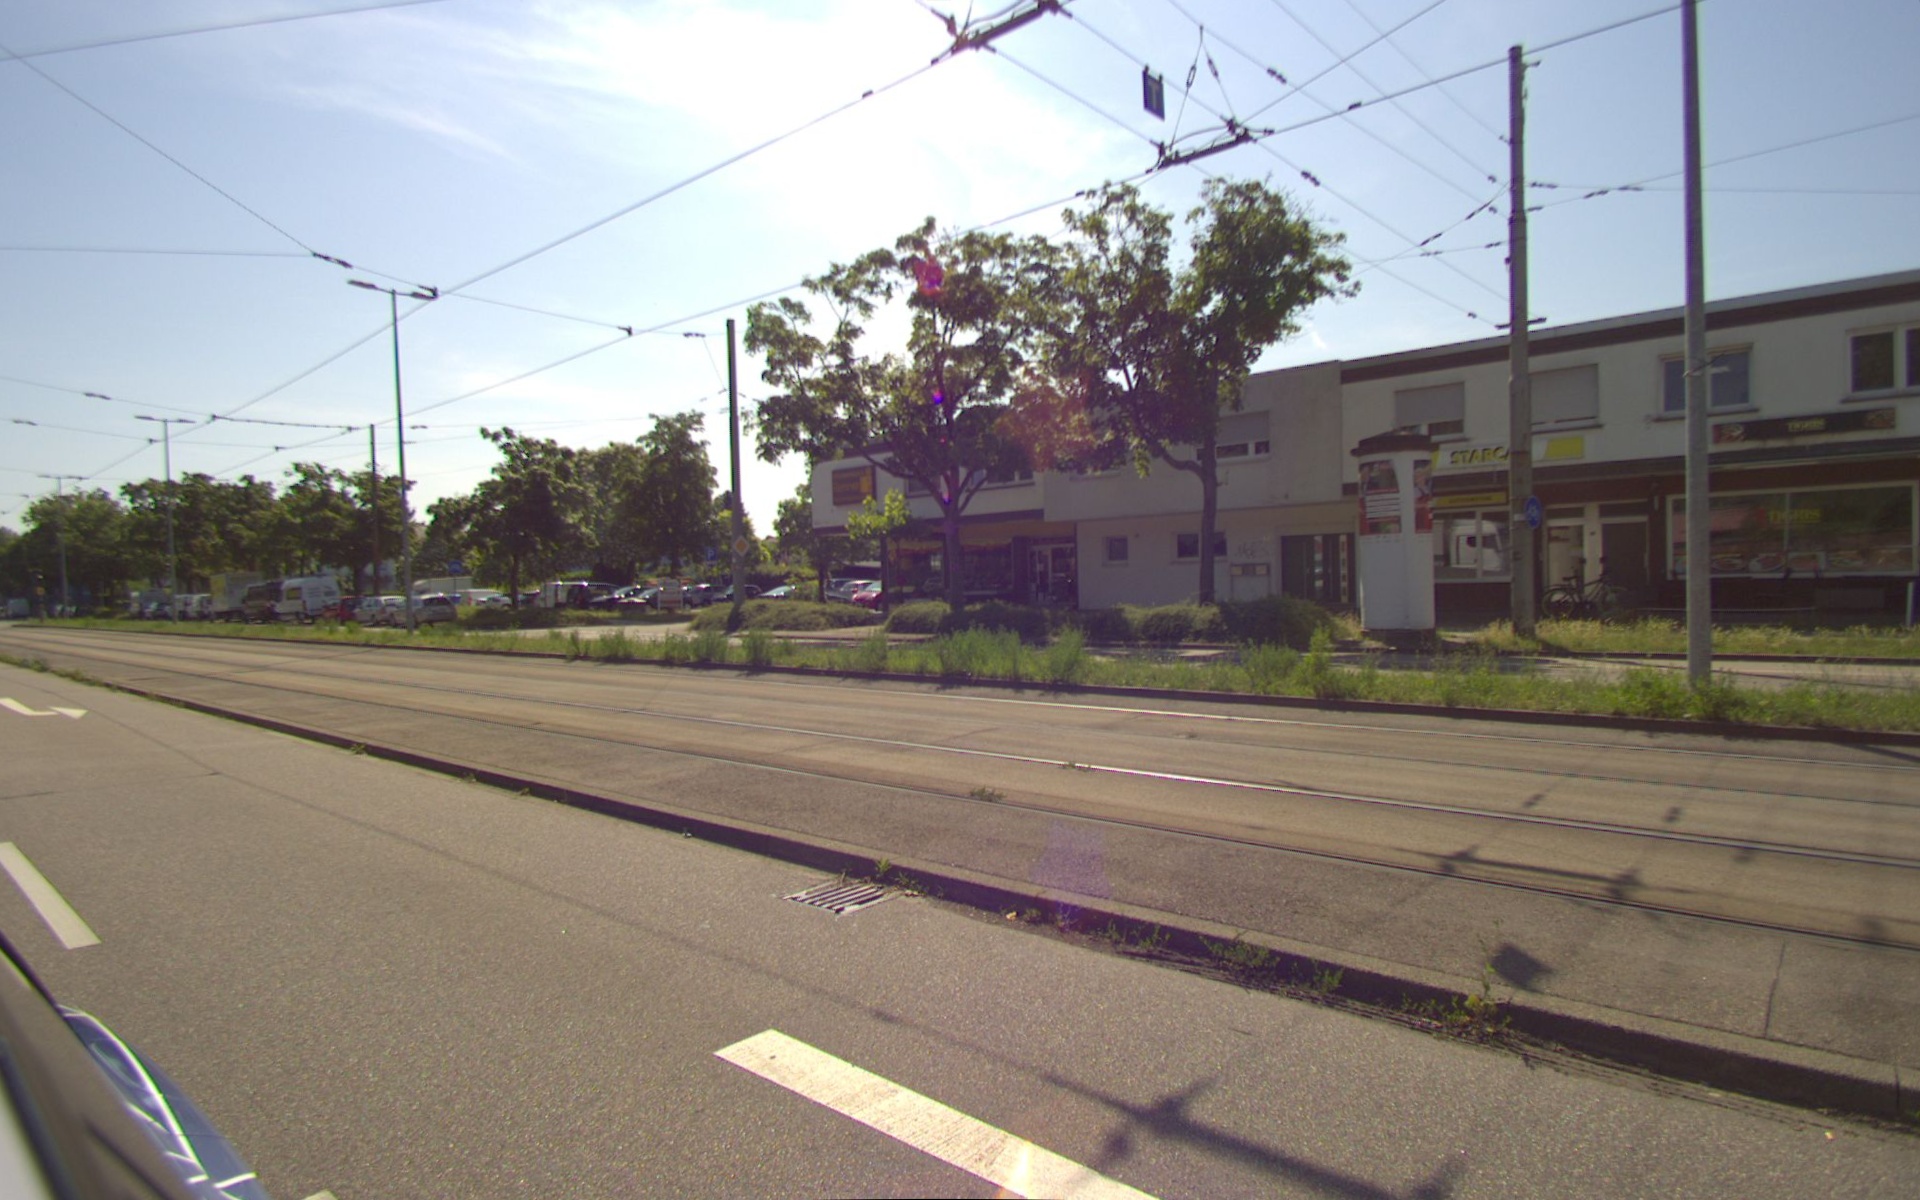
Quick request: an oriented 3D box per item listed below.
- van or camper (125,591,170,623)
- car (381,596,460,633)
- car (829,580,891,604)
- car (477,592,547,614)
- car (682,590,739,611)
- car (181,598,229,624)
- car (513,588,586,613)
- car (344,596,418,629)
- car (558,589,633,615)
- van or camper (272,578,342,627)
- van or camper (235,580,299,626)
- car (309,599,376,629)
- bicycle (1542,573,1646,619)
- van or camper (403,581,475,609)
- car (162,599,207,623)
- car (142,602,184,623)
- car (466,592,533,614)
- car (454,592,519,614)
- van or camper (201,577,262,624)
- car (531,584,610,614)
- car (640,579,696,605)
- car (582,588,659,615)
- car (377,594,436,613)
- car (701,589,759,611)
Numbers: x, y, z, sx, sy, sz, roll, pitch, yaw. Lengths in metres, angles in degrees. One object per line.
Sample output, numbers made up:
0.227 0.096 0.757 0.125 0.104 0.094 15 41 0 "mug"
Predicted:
-69.588 0.579 86.610 5.450 2.639 2.087 0 0 41 "van or camper"
-25.343 0.655 47.486 4.285 1.506 1.868 -1 4 43 "car"
-6.027 -0.479 61.511 1.710 1.372 3.580 -1 1 39 "car"
-28.251 0.179 63.867 1.811 1.291 3.580 -1 1 39 "car"
-17.601 0.005 71.364 1.710 1.372 3.580 -1 1 39 "car"
-54.784 0.791 73.374 4.229 1.747 1.869 -1 1 41 "car"
-24.150 0.019 59.593 1.710 1.294 3.580 -1 1 39 "car"
-29.291 0.638 51.165 4.282 1.572 1.869 -1 1 41 "car"
-20.361 0.093 56.650 1.710 1.372 3.580 -1 1 39 "car"
-37.240 0.154 57.671 4.836 2.652 2.014 -1 1 41 "van or camper"
-42.625 0.187 62.224 4.836 2.652 2.014 -1 1 41 "van or camper"
-33.329 0.772 54.589 4.229 1.506 1.869 -1 1 41 "car"
14.499 -0.084 23.171 1.910 0.990 0.750 -1 1 41 "bicycle"
-53.190 -0.526 103.420 2.299 2.751 6.002 -1 1 43 "van or camper"
-59.871 0.851 78.096 4.229 1.781 1.869 -1 1 41 "car"
-64.514 1.029 81.890 4.229 1.572 1.869 -1 1 41 "car"
-30.046 0.189 66.035 1.710 1.291 3.580 -1 1 39 "car"
-31.684 0.197 67.767 1.710 1.291 3.580 -1 1 39 "car"
-48.561 0.047 67.426 5.278 3.007 2.101 -1 1 41 "van or camper"
-22.340 -0.078 58.137 1.949 1.581 3.703 -1 1 39 "car"
-21.472 -0.590 74.521 1.710 1.791 3.580 -1 1 39 "car"
-18.359 0.079 54.773 1.710 1.372 3.580 -1 1 39 "car"
-42.235 0.261 77.237 1.710 1.291 3.580 -1 1 39 "car"
-15.762 -0.020 69.527 1.710 1.372 3.580 -1 1 39 "car"
